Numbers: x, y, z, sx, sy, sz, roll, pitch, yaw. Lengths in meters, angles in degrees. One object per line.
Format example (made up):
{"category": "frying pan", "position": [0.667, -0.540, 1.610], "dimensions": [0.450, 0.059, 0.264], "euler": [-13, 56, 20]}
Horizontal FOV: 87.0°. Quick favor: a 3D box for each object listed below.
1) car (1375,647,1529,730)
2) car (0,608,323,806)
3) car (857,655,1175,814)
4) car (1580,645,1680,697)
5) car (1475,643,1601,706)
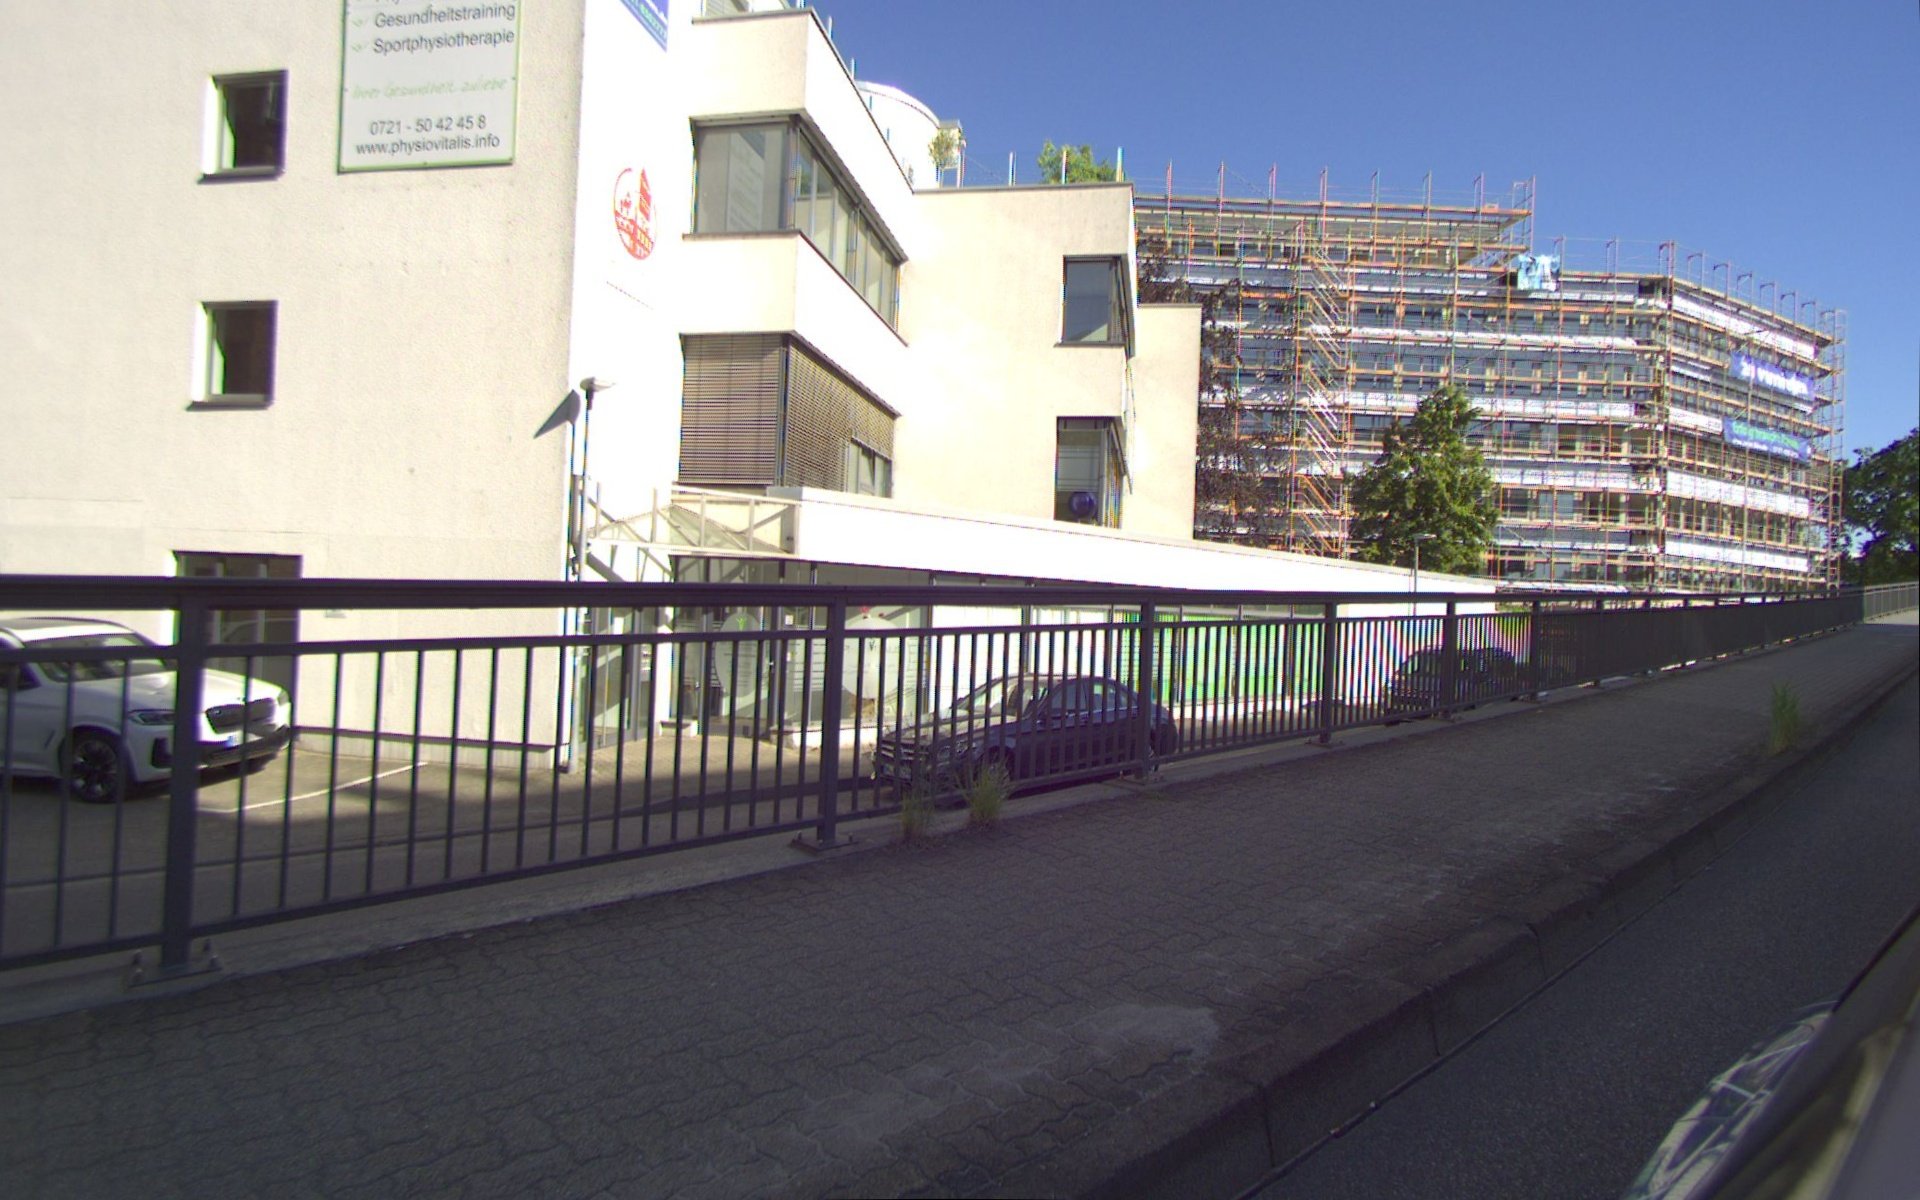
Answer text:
{"category": "car", "position": [10.854, 1.860, 22.226], "dimensions": [3.931, 1.541, 1.723], "euler": [1, -1, -42]}
{"category": "car", "position": [-9.529, 1.020, 10.836], "dimensions": [4.455, 1.707, 1.840], "euler": [2, 0, 9]}
{"category": "car", "position": [0.805, 1.546, 12.806], "dimensions": [3.929, 1.541, 1.724], "euler": [1, -1, -41]}
{"category": "car", "position": [21.083, 2.173, 31.796], "dimensions": [3.931, 1.410, 1.723], "euler": [1, -1, -42]}
{"category": "car", "position": [14.976, 1.867, 26.156], "dimensions": [3.931, 1.410, 1.723], "euler": [1, -1, -42]}
